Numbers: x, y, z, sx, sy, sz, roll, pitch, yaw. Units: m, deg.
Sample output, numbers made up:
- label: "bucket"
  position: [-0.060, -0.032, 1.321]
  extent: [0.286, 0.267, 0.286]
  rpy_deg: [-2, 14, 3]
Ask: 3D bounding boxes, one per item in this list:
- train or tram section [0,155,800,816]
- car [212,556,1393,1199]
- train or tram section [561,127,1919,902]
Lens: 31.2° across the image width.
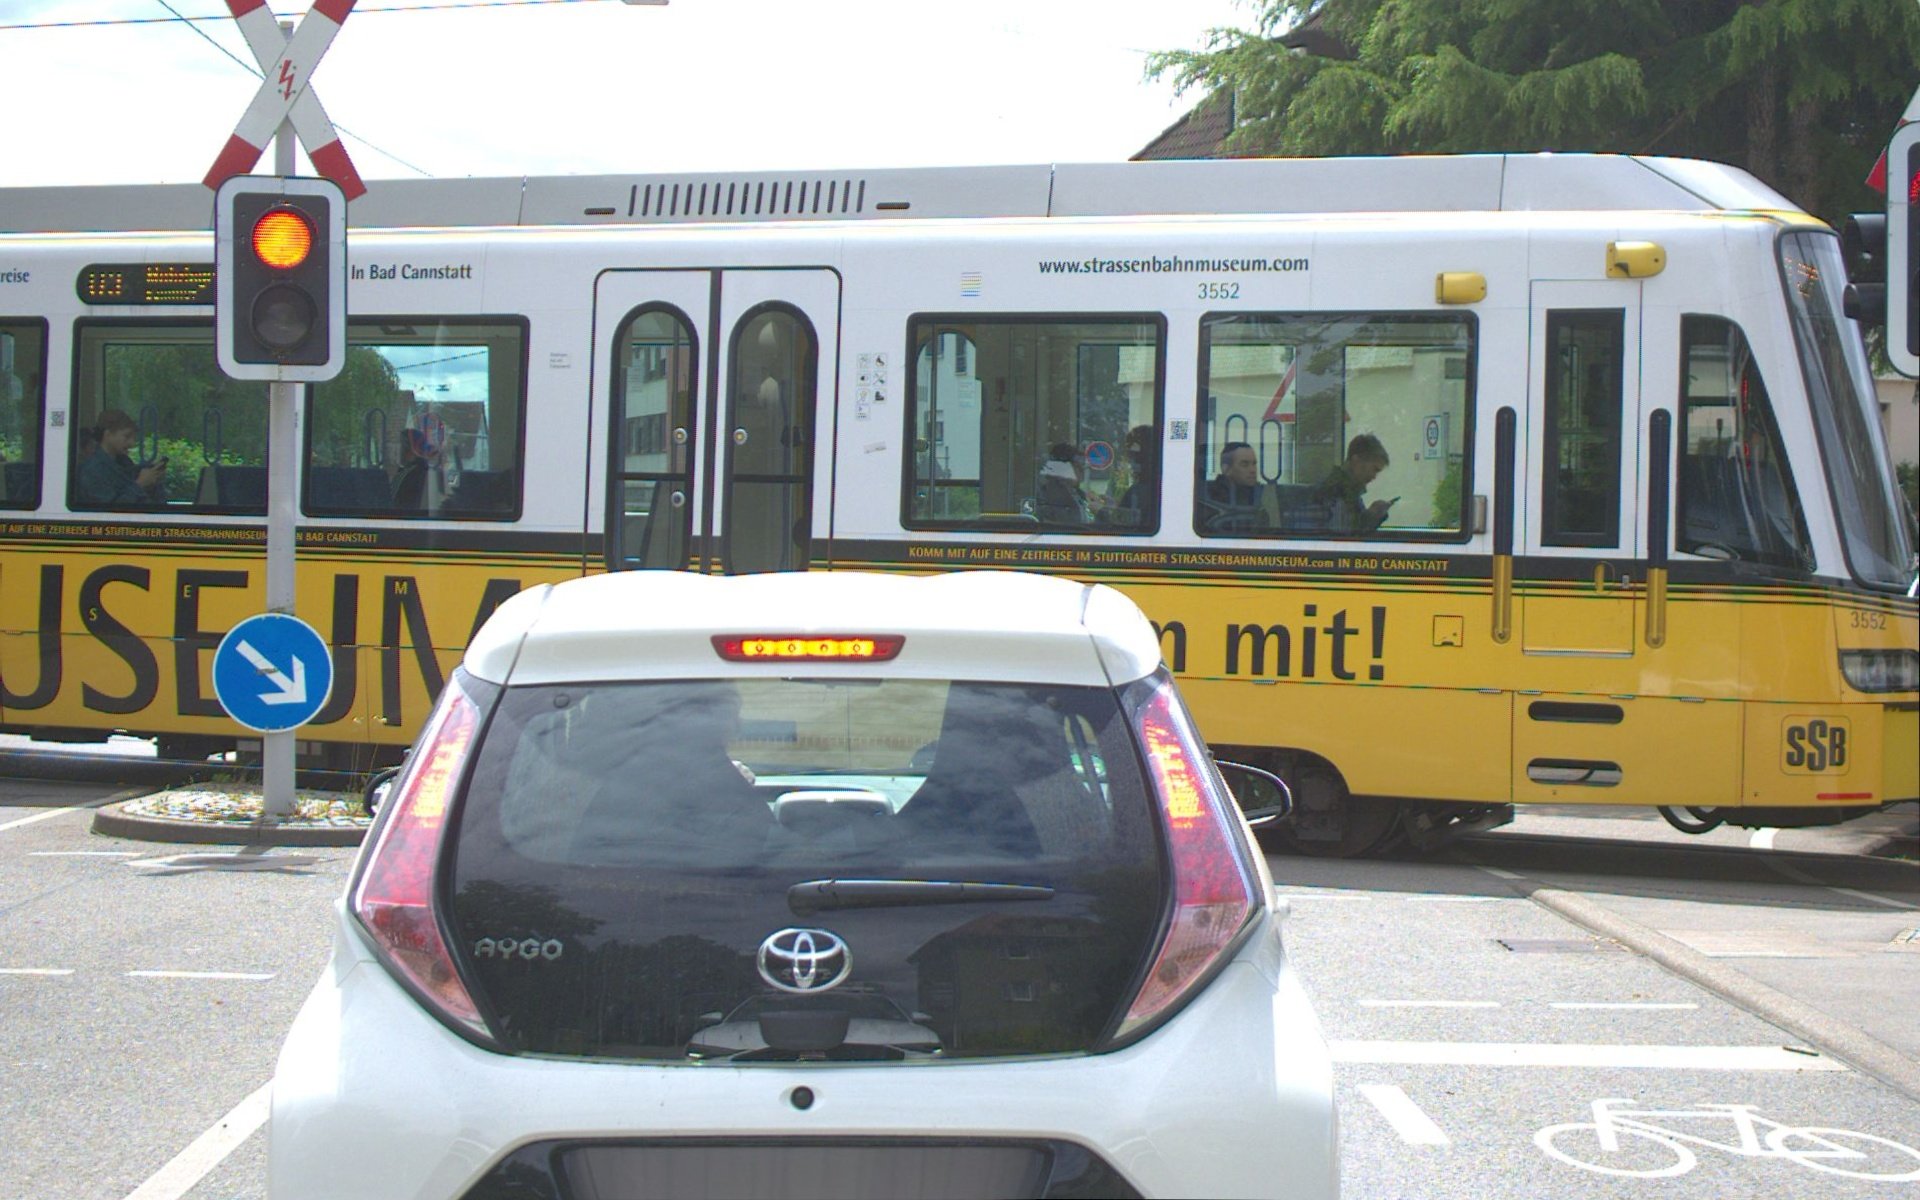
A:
- label: "train or tram section"
  position: [-5.178, -0.791, 22.095]
  extent: [7.700, 3.709, 2.866]
  rpy_deg: [2, 1, 23]
- label: "car"
  position: [-0.242, 0.667, 6.740]
  extent: [1.621, 1.481, 4.000]
  rpy_deg: [0, 1, -1]
- label: "train or tram section"
  position: [1.918, -0.547, 19.127]
  extent: [7.700, 3.709, 2.866]
  rpy_deg: [2, 1, 23]
